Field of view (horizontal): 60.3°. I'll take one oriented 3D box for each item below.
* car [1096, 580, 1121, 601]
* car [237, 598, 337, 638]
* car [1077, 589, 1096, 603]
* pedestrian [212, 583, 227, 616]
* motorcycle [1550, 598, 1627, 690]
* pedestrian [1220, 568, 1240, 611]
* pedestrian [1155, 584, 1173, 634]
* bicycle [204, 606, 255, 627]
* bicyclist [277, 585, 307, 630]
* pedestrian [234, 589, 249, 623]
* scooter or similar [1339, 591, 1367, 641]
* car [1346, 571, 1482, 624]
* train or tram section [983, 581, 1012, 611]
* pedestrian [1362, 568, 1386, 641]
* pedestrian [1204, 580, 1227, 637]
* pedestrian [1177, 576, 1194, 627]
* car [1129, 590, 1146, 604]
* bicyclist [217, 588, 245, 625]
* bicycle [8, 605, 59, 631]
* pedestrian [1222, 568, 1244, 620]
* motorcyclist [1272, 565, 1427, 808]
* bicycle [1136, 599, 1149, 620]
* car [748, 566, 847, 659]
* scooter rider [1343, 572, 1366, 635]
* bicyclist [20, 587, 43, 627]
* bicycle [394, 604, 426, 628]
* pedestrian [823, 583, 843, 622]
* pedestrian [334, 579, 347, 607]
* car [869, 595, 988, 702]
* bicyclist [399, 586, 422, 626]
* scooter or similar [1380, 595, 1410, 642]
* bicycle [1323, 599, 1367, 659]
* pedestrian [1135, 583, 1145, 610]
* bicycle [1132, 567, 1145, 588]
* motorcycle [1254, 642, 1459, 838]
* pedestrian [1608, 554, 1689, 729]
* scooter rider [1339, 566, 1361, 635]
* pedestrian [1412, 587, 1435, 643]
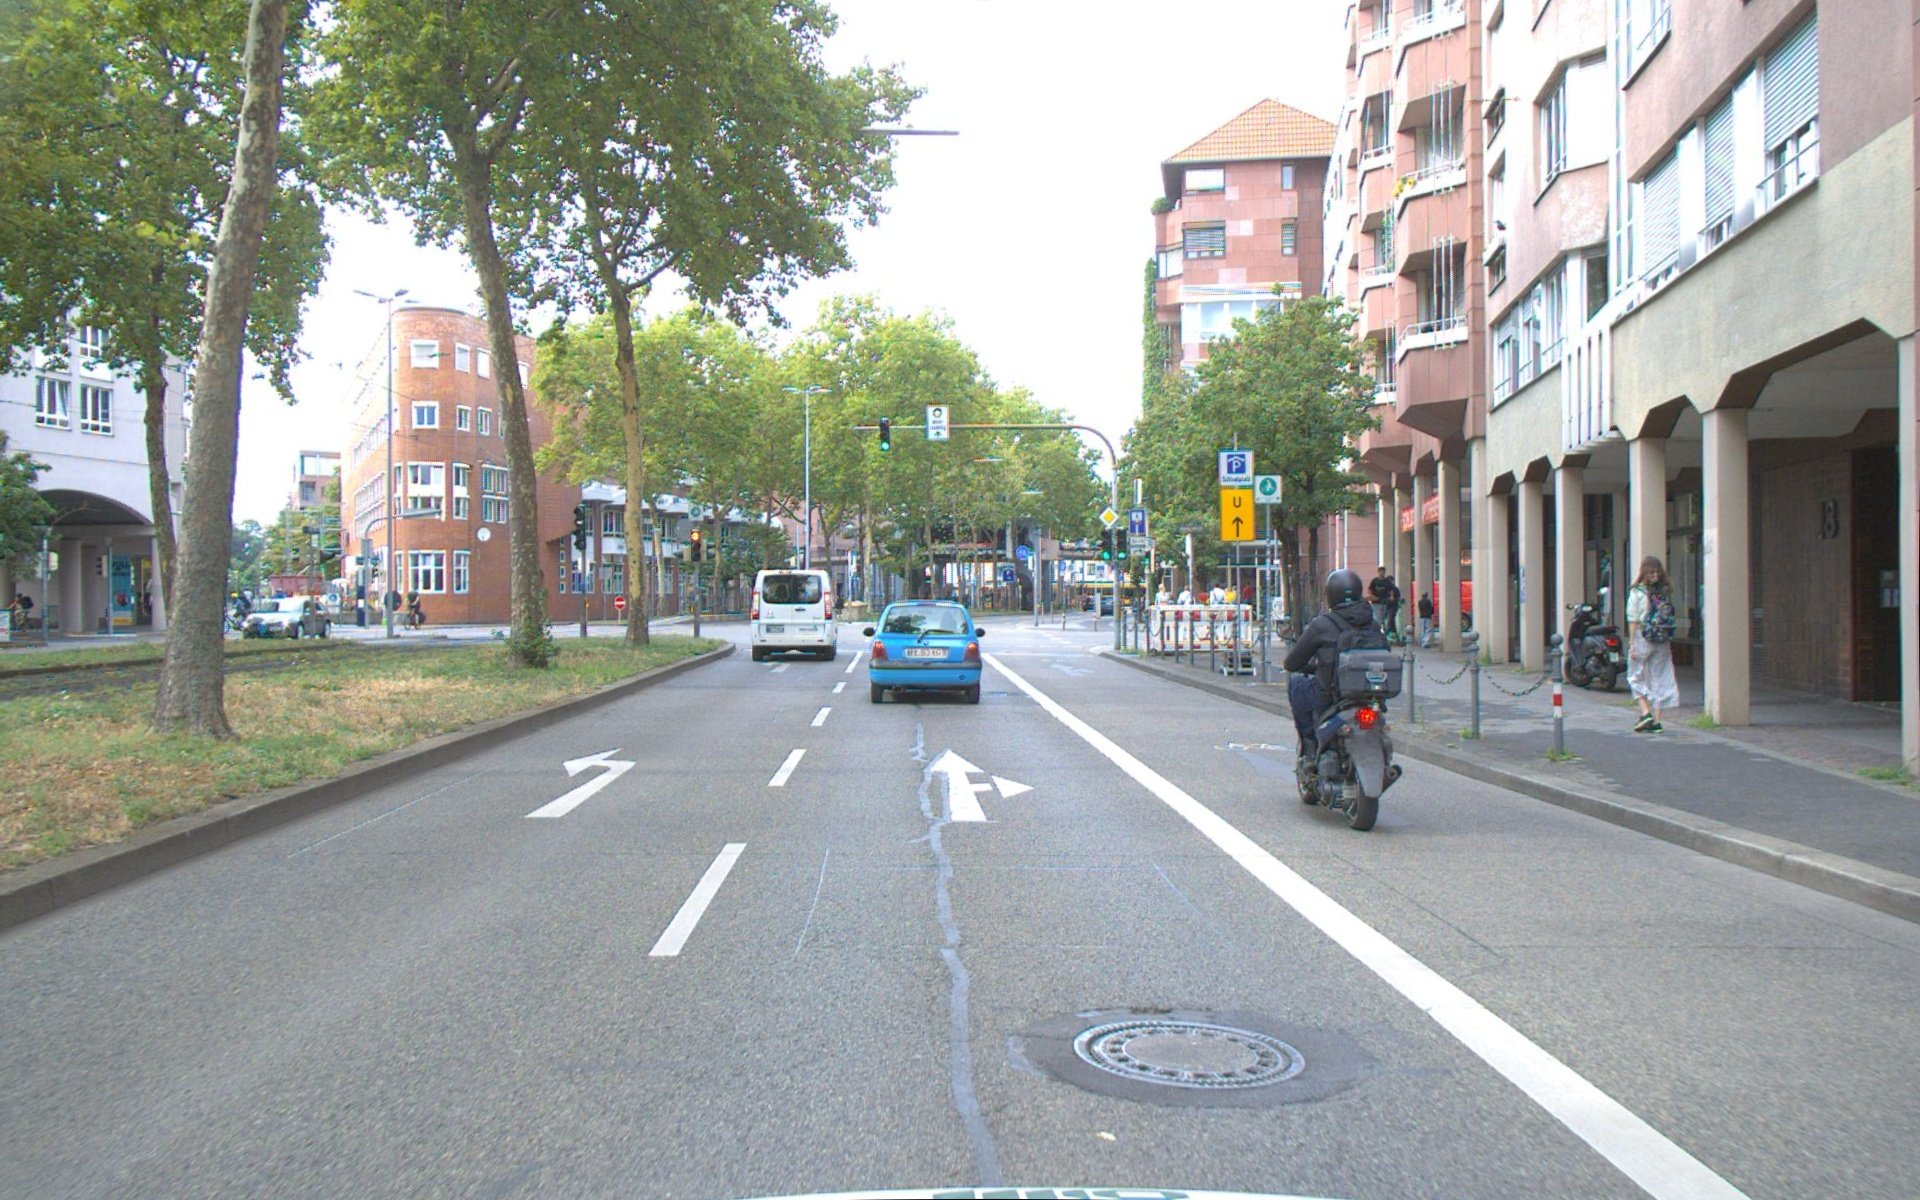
[{"bbox_3d":[12.065,-0.774,134.285,1.662,1.629,4.004,0,0,10],"label":"car"},{"bbox_3d":[-22.720,0.590,55.990,1.695,1.267,4.532,0,0,-3],"label":"car"},{"bbox_3d":[14.634,-0.490,191.167,1.846,1.652,4.004,0,0,10],"label":"car"},{"bbox_3d":[-38.448,-0.017,85.844,0.666,1.709,0.746,0,0,-29],"label":"pedestrian"},{"bbox_3d":[8.762,0.596,23.126,0.603,1.176,1.905,-2,1,9],"label":"motorcycle"},{"bbox_3d":[9.853,-0.373,60.372,0.661,1.565,0.948,0,0,6],"label":"pedestrian"},{"bbox_3d":[6.722,0.292,54.490,0.506,1.644,0.851,0,0,3],"label":"pedestrian"},{"bbox_3d":[-31.912,0.718,72.295,1.968,0.850,0.571,-1,0,-39],"label":"bicycle"},{"bbox_3d":[-25.645,0.289,63.509,0.675,1.702,0.954,0,0,6],"label":"bicyclist"},{"bbox_3d":[-42.174,0.346,97.108,0.780,1.998,0.799,-1,0,-26],"label":"pedestrian"},{"bbox_3d":[9.953,0.400,41.880,0.464,1.227,1.331,0,0,4],"label":"scooter or similar"},{"bbox_3d":[16.879,-0.072,61.716,4.723,1.857,2.001,0,-2,10],"label":"car"},{"bbox_3d":[4.321,-0.479,188.948,2.338,3.310,8.825,-1,0,8],"label":"train or tram section"},{"bbox_3d":[10.487,0.119,41.910,0.539,1.831,0.658,0,0,9],"label":"pedestrian"},{"bbox_3d":[8.508,0.279,55.089,0.662,1.860,0.851,0,0,5],"label":"pedestrian"},{"bbox_3d":[7.420,0.044,54.410,0.506,1.644,0.851,0,0,5],"label":"pedestrian"},{"bbox_3d":[20.474,-0.338,190.338,1.662,1.629,4.004,0,0,10],"label":"car"},{"bbox_3d":[-31.876,0.268,72.314,1.024,1.590,0.574,-1,0,-39],"label":"bicyclist"},{"bbox_3d":[-40.202,0.764,71.793,1.858,1.111,0.570,-1,0,-39],"label":"bicycle"},{"bbox_3d":[9.097,-0.202,55.151,0.638,1.730,1.023,0,0,6],"label":"pedestrian"},{"bbox_3d":[2.608,0.557,11.178,0.744,1.545,1.017,-1,0,-3],"label":"motorcyclist"},{"bbox_3d":[9.218,0.482,83.554,0.604,1.026,1.736,0,0,4],"label":"bicycle"},{"bbox_3d":[-3.621,0.237,37.608,1.893,1.959,4.954,-1,1,-2],"label":"car"},{"bbox_3d":[9.928,0.086,41.665,0.451,1.584,0.565,0,0,3],"label":"scooter rider"},{"bbox_3d":[-40.269,0.303,71.747,0.777,1.702,0.566,0,0,-38],"label":"bicyclist"},{"bbox_3d":[-26.307,0.765,79.170,0.663,1.112,2.210,-1,1,3],"label":"bicycle"},{"bbox_3d":[-5.870,0.113,76.300,0.542,1.748,0.890,0,0,24],"label":"pedestrian"},{"bbox_3d":[-39.827,-0.453,106.390,0.684,1.849,0.649,0,0,-28],"label":"pedestrian"},{"bbox_3d":[-0.471,0.642,24.150,1.607,1.410,3.842,0,1,-2],"label":"car"},{"bbox_3d":[-26.320,0.264,79.190,0.653,1.880,1.081,-1,0,3],"label":"bicyclist"},{"bbox_3d":[11.104,0.466,42.268,0.542,1.190,1.407,0,0,7],"label":"scooter or similar"},{"bbox_3d":[7.572,0.555,32.571,0.599,1.137,1.806,0,0,5],"label":"bicycle"},{"bbox_3d":[12.408,-0.250,114.098,0.633,1.891,0.783,0,0,8],"label":"pedestrian"},{"bbox_3d":[8.950,-1.122,82.975,0.604,1.026,1.736,0,0,4],"label":"bicycle"},{"bbox_3d":[2.619,0.882,11.206,0.752,1.126,2.207,-1,0,-3],"label":"motorcycle"},{"bbox_3d":[6.789,0.397,16.331,0.532,1.678,0.826,0,0,8],"label":"pedestrian"},{"bbox_3d":[9.964,0.011,42.243,0.453,1.750,0.553,0,0,3],"label":"scooter rider"},{"bbox_3d":[11.205,0.363,39.990,0.476,1.347,0.485,0,0,12],"label":"pedestrian"}]
